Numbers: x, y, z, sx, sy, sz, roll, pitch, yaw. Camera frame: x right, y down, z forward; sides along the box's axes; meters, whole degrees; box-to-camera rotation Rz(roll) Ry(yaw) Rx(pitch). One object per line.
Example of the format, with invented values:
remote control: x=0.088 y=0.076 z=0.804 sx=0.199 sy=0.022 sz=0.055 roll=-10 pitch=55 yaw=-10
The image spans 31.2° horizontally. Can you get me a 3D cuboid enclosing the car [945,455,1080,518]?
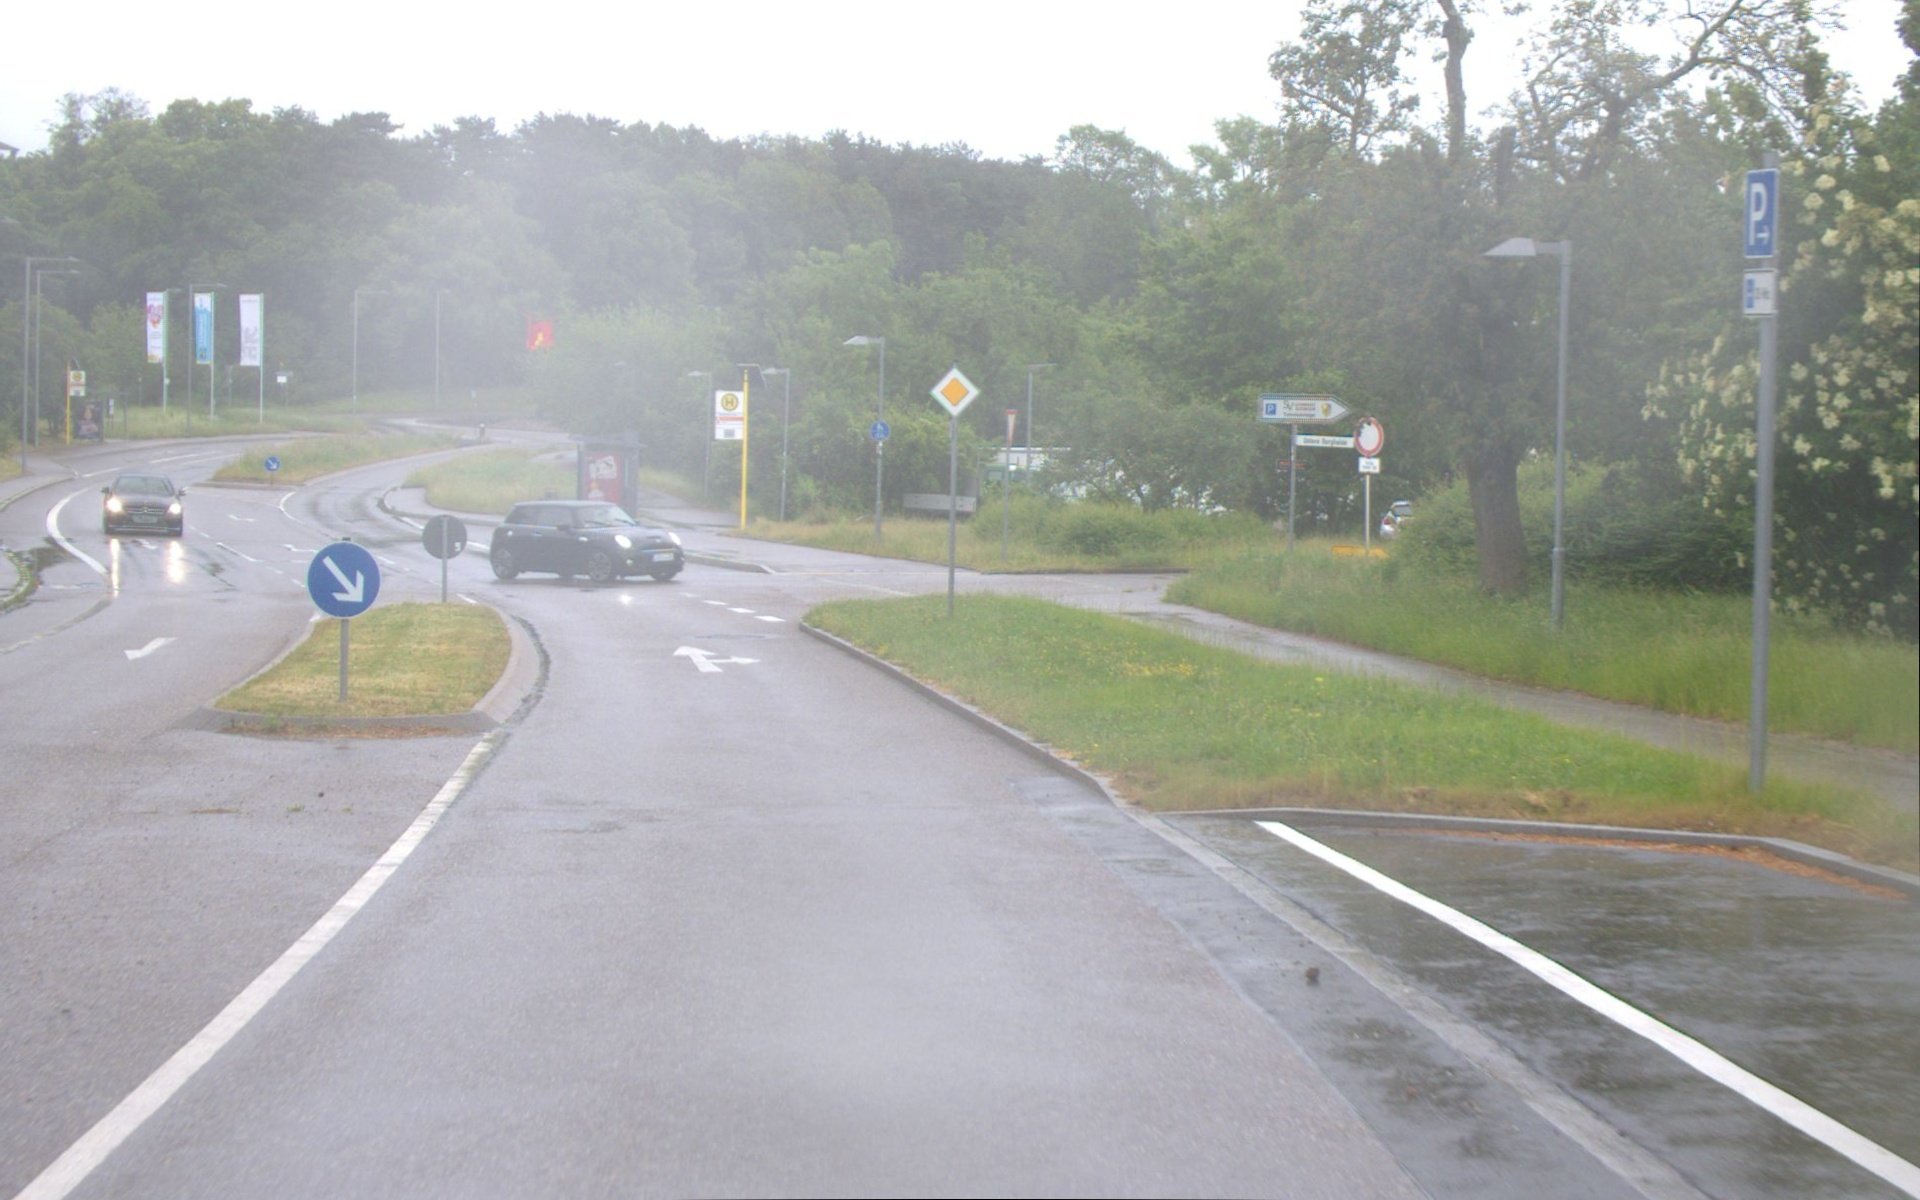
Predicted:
car: x=1.556 y=-3.343 z=101.591 sx=3.419 sy=1.684 sz=1.996 roll=1 pitch=-2 yaw=36

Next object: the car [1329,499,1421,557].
car: x=11.909 y=-2.098 z=98.891 sx=1.930 sy=1.502 sz=4.001 roll=0 pitch=3 yaw=-4

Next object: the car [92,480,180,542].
car: x=-19.848 y=-2.172 z=82.748 sx=1.967 sy=1.409 sz=4.417 roll=-1 pitch=2 yaw=-14

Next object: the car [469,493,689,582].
car: x=-6.699 y=-1.105 z=60.561 sx=3.524 sy=1.351 sz=1.459 roll=4 pitch=2 yaw=12
